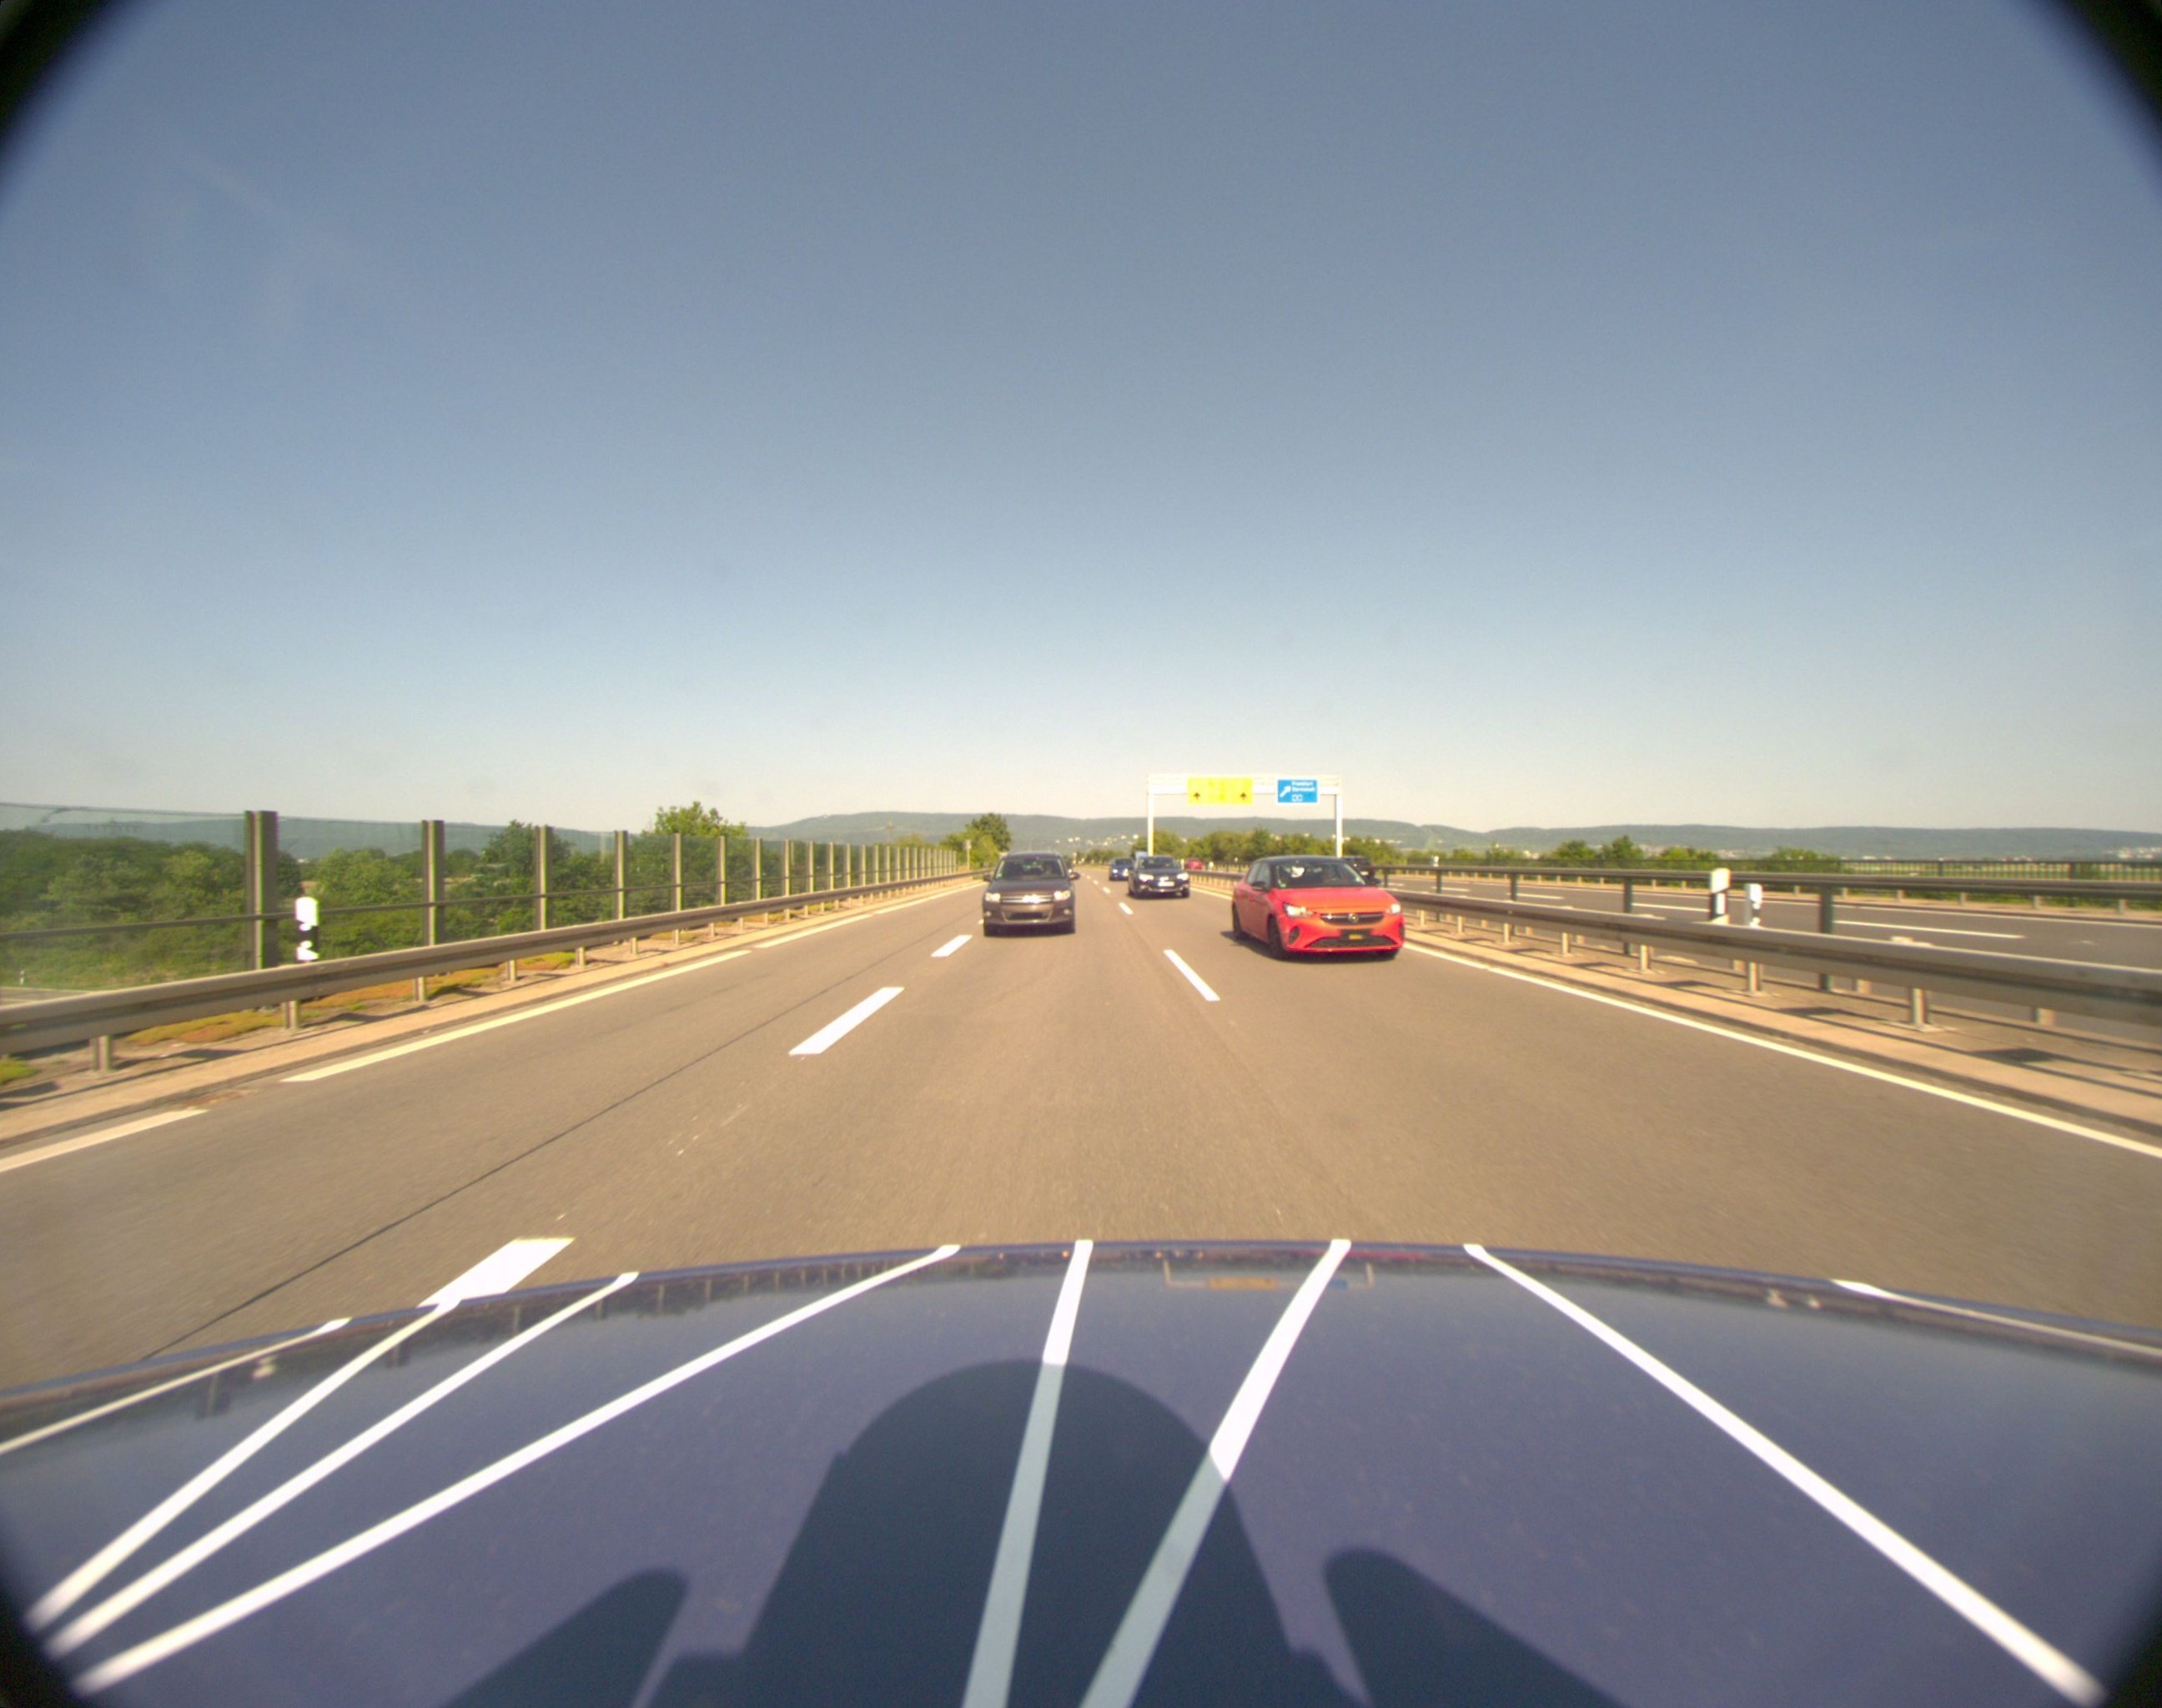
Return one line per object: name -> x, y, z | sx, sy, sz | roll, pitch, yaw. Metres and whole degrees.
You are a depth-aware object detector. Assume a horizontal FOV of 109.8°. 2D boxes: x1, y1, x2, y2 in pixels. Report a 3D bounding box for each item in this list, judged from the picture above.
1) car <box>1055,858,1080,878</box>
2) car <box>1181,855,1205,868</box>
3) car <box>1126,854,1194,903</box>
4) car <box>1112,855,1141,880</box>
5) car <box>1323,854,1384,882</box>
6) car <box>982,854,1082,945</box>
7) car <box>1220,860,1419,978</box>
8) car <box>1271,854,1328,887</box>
car -> -0.911, 0.968, 53.074 | 1.600, 1.241, 4.000 | -2, 0, 0
car -> 12.435, 0.809, 84.868 | 1.829, 1.420, 4.530 | -2, 0, -2
car -> 2.689, 0.800, 26.802 | 1.788, 1.524, 4.374 | -2, 0, -1
car -> 2.833, 0.848, 47.955 | 1.651, 1.403, 3.775 | -2, 1, 1
car -> 14.953, 0.737, 41.906 | 1.784, 1.376, 3.999 | -2, 0, -2
car -> -0.905, 0.849, 16.234 | 1.790, 1.637, 4.148 | -2, 0, 1
car -> 3.422, 0.844, 11.817 | 1.713, 1.428, 4.412 | -1, 0, 0
car -> 10.217, 0.739, 35.812 | 1.556, 1.408, 3.668 | -2, 0, -1
